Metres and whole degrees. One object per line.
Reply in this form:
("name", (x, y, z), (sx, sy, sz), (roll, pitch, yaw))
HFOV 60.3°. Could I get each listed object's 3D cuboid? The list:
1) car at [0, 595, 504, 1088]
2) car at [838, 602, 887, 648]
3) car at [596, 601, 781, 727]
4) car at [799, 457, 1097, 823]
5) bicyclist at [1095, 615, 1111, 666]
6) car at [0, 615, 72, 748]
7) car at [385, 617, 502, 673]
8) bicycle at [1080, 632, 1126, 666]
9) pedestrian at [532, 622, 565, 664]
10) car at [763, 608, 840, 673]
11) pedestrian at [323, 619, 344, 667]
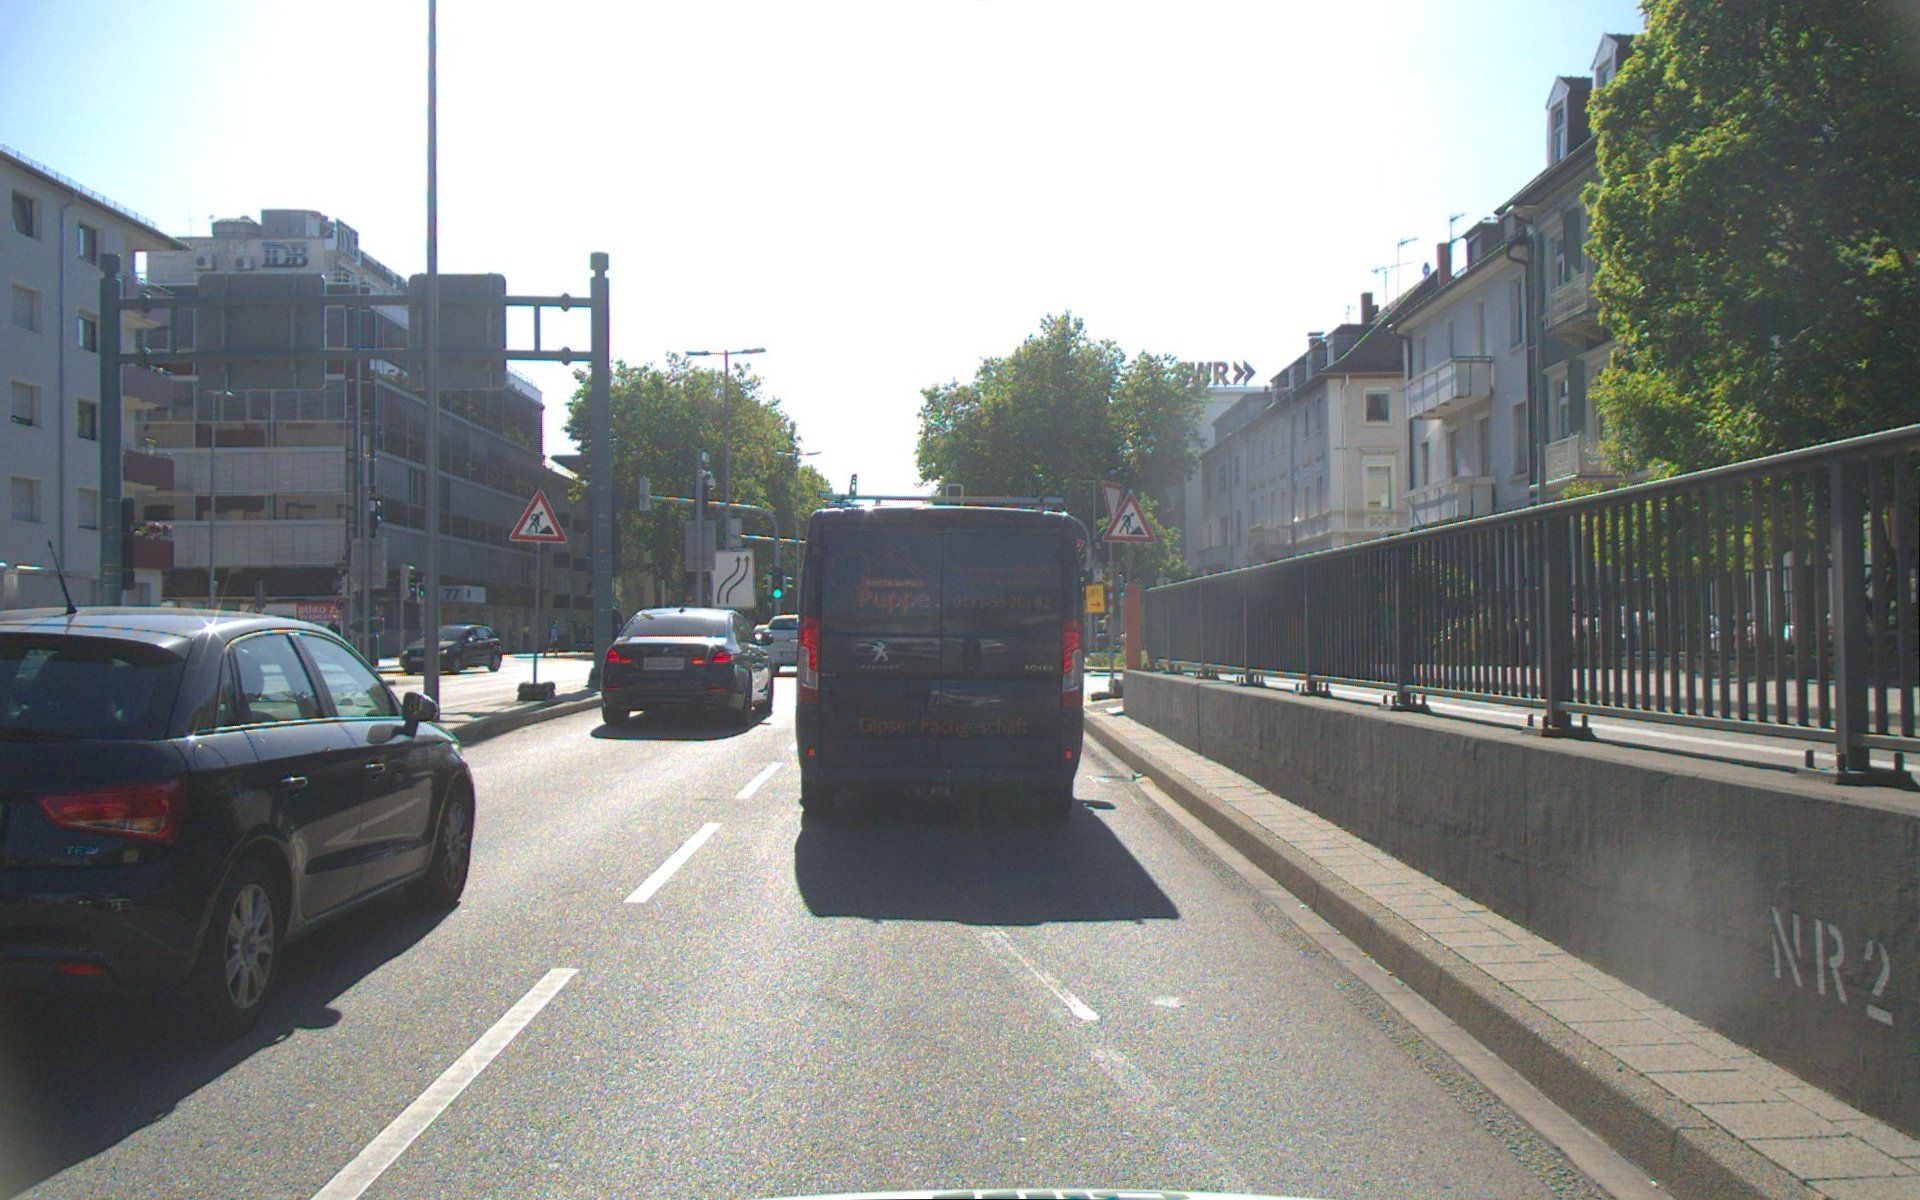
("car", (-3.203, 0.715, 6.793), (1.661, 1.443, 3.887), (1, 0, -2))
("car", (-3.475, 0.875, 59.392), (1.655, 1.509, 3.318), (1, 0, -2))
("car", (-3.491, 0.773, 22.146), (1.772, 1.464, 5.000), (1, 0, -2))
("car", (-0.111, 0.288, 13.067), (1.989, 2.444, 3.971), (0, -1, -1))
("bicyclist", (5.009, 1.404, 57.945), (0.499, 1.766, 0.597), (1, -1, -1))
("car", (-11.447, 0.944, 18.131), (1.559, 1.470, 3.494), (-3, 0, -2))
("car", (-15.623, 1.334, 50.214), (1.895, 1.582, 3.926), (1, -1, 7))
("bicycle", (5.015, 1.724, 57.941), (1.534, 1.138, 0.570), (1, -1, -2))
("pedestrian", (-19.860, 2.082, 79.915), (1.305, 1.965, 1.025), (1, -1, -1))
("car", (-3.875, 0.969, 40.931), (1.586, 1.428, 3.851), (1, 1, -1))
("pedestrian", (-25.207, 1.735, 66.554), (0.647, 1.929, 0.721), (1, -1, -14))
